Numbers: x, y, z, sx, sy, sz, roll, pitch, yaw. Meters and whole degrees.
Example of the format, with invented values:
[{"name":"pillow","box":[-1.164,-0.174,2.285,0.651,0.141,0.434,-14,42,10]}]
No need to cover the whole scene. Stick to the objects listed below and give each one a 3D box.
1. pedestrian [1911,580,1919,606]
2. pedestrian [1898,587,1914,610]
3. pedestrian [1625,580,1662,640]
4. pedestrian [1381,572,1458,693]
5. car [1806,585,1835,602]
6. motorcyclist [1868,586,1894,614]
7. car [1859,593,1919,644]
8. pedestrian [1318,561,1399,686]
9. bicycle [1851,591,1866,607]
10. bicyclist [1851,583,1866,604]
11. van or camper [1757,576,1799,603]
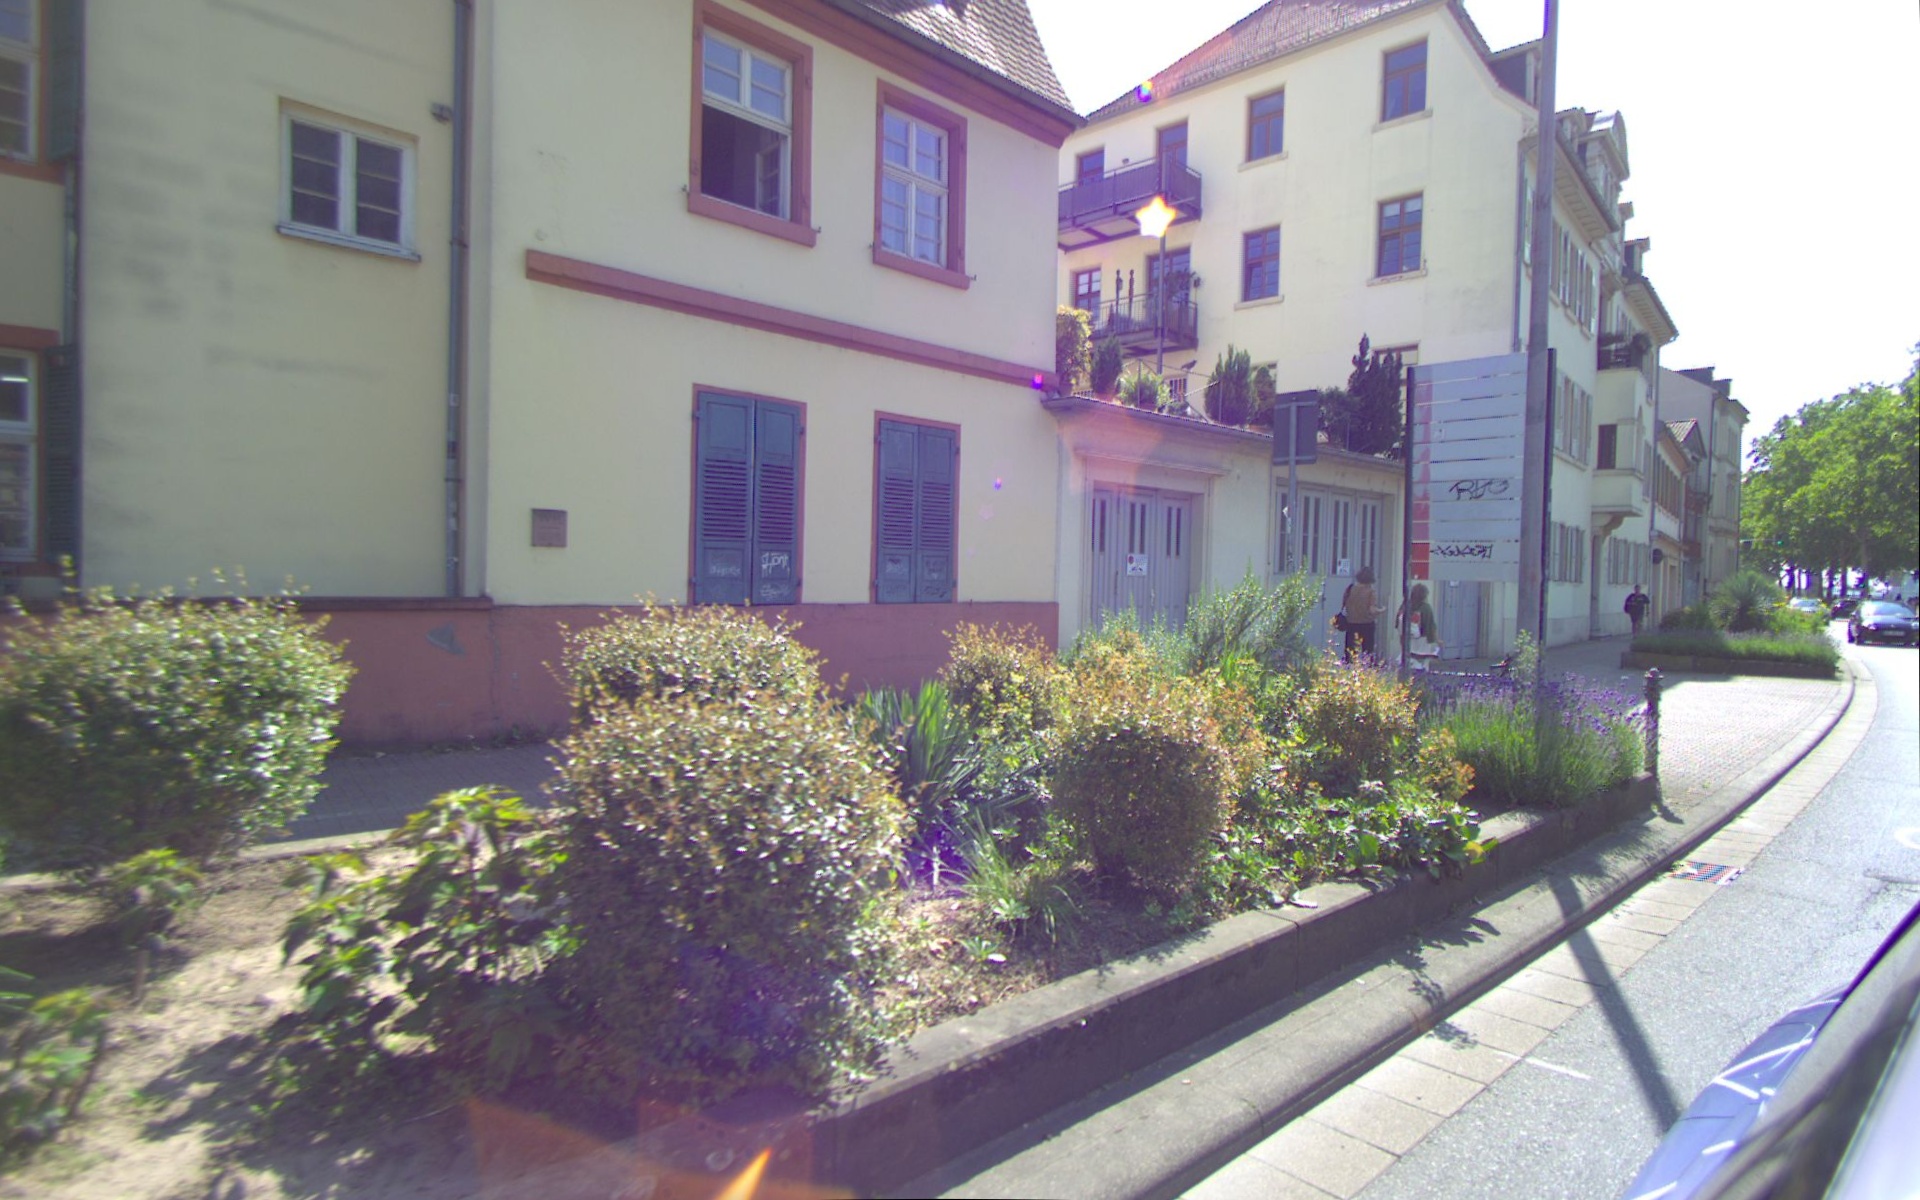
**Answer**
[{"name":"pedestrian","box":[63.587,-0.471,66.991,0.649,1.734,0.785,3,2,29]},{"name":"pedestrian","box":[73.481,-0.112,78.603,0.709,1.786,0.960,2,2,36]},{"name":"pedestrian","box":[20.980,0.292,31.050,0.761,1.734,0.686,6,4,40]},{"name":"pedestrian","box":[6.399,0.428,14.088,0.762,1.615,0.685,2,1,44]},{"name":"car","box":[78.088,-0.618,91.843,1.697,1.463,4.037,1,0,36]},{"name":"motorcyclist","box":[52.445,-0.010,57.628,0.875,1.603,1.013,2,1,32]},{"name":"car","box":[28.848,0.544,30.933,1.871,1.442,4.670,2,1,44]},{"name":"pedestrian","box":[5.794,0.315,14.710,0.738,1.719,0.918,3,2,44]},{"name":"bicycle","box":[65.098,-0.076,73.341,0.739,1.091,1.924,1,0,40]},{"name":"bicyclist","box":[65.283,-0.465,73.538,0.765,1.551,1.011,1,-1,38]},{"name":"van or camper","box":[73.323,-0.991,90.794,2.424,2.312,6.125,2,2,35]}]
